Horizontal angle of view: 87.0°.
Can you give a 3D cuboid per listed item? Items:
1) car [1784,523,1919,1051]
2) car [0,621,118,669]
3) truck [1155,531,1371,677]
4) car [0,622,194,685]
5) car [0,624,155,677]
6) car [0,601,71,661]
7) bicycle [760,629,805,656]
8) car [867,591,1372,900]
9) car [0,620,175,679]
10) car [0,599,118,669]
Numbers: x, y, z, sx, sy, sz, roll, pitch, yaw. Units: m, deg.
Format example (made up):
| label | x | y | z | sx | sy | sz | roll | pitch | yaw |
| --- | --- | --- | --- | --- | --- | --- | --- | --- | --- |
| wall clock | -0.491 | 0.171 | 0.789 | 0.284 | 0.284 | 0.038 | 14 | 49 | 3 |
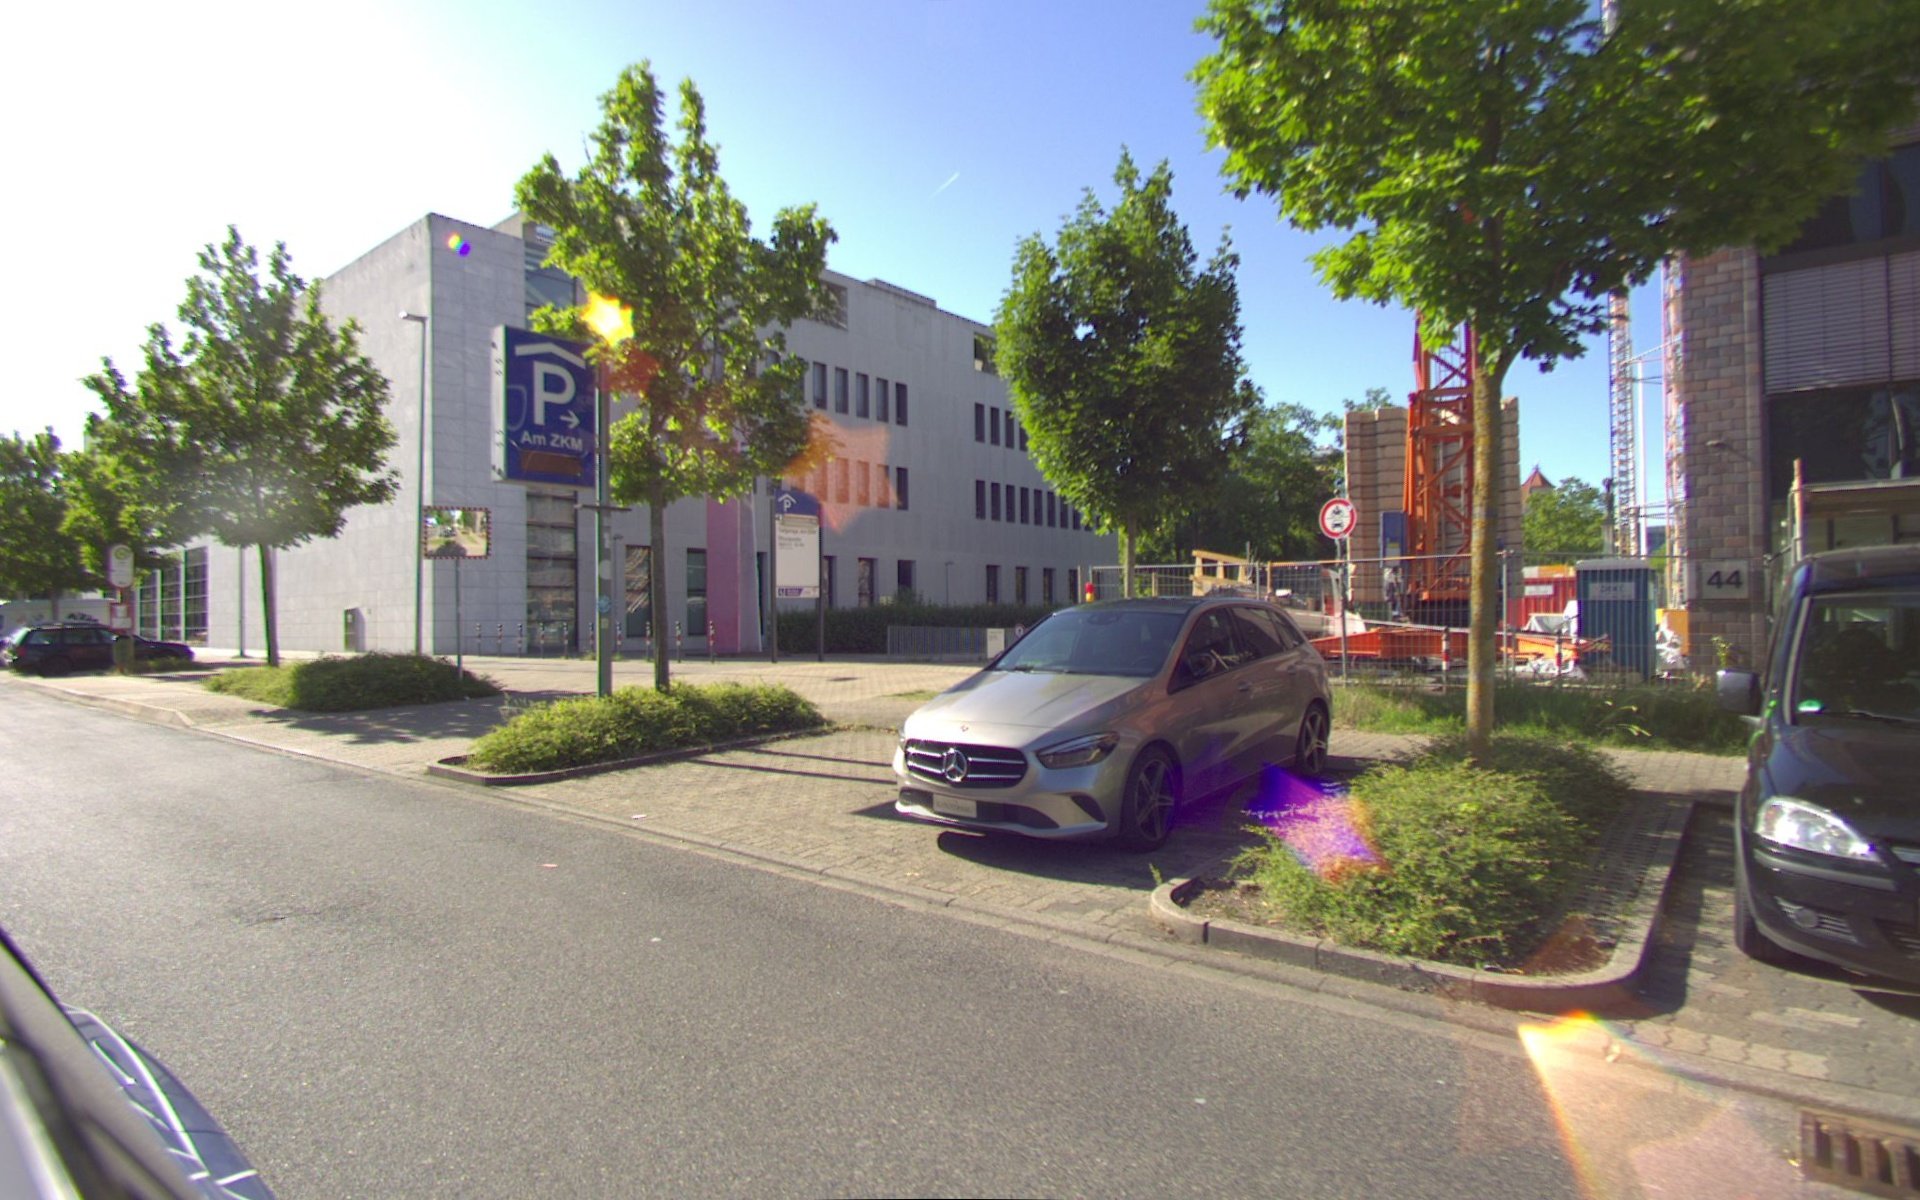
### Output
| label | x | y | z | sx | sy | sz | roll | pitch | yaw |
| --- | --- | --- | --- | --- | --- | --- | --- | --- | --- |
| car | 5.039 | 0.549 | 4.607 | 1.846 | 1.758 | 4.340 | -1 | 1 | 41 |
| car | -33.814 | 1.636 | 37.126 | 1.692 | 1.525 | 4.262 | -1 | 1 | 39 |
| truck | 6.722 | 0.167 | 21.980 | 2.268 | 2.752 | 5.780 | -2 | -2 | 41 |
| car | -25.411 | 1.509 | 29.792 | 1.717 | 1.525 | 4.262 | -1 | 1 | 39 |
| car | -30.404 | 1.669 | 34.556 | 1.692 | 1.525 | 4.262 | -1 | 1 | 39 |
| car | -45.199 | 1.495 | 47.081 | 2.010 | 2.657 | 5.511 | -1 | 1 | 42 |
| bicycle | -8.195 | 1.946 | 46.868 | 0.716 | 1.219 | 2.236 | -1 | -2 | 34 |
| car | 1.465 | 0.761 | 7.517 | 1.692 | 1.525 | 4.341 | -1 | 1 | 40 |
| car | -28.575 | 1.567 | 33.124 | 1.692 | 1.595 | 4.262 | -1 | 1 | 39 |
| car | -36.417 | 1.328 | 39.240 | 2.010 | 2.501 | 5.511 | -1 | 1 | 42 |
